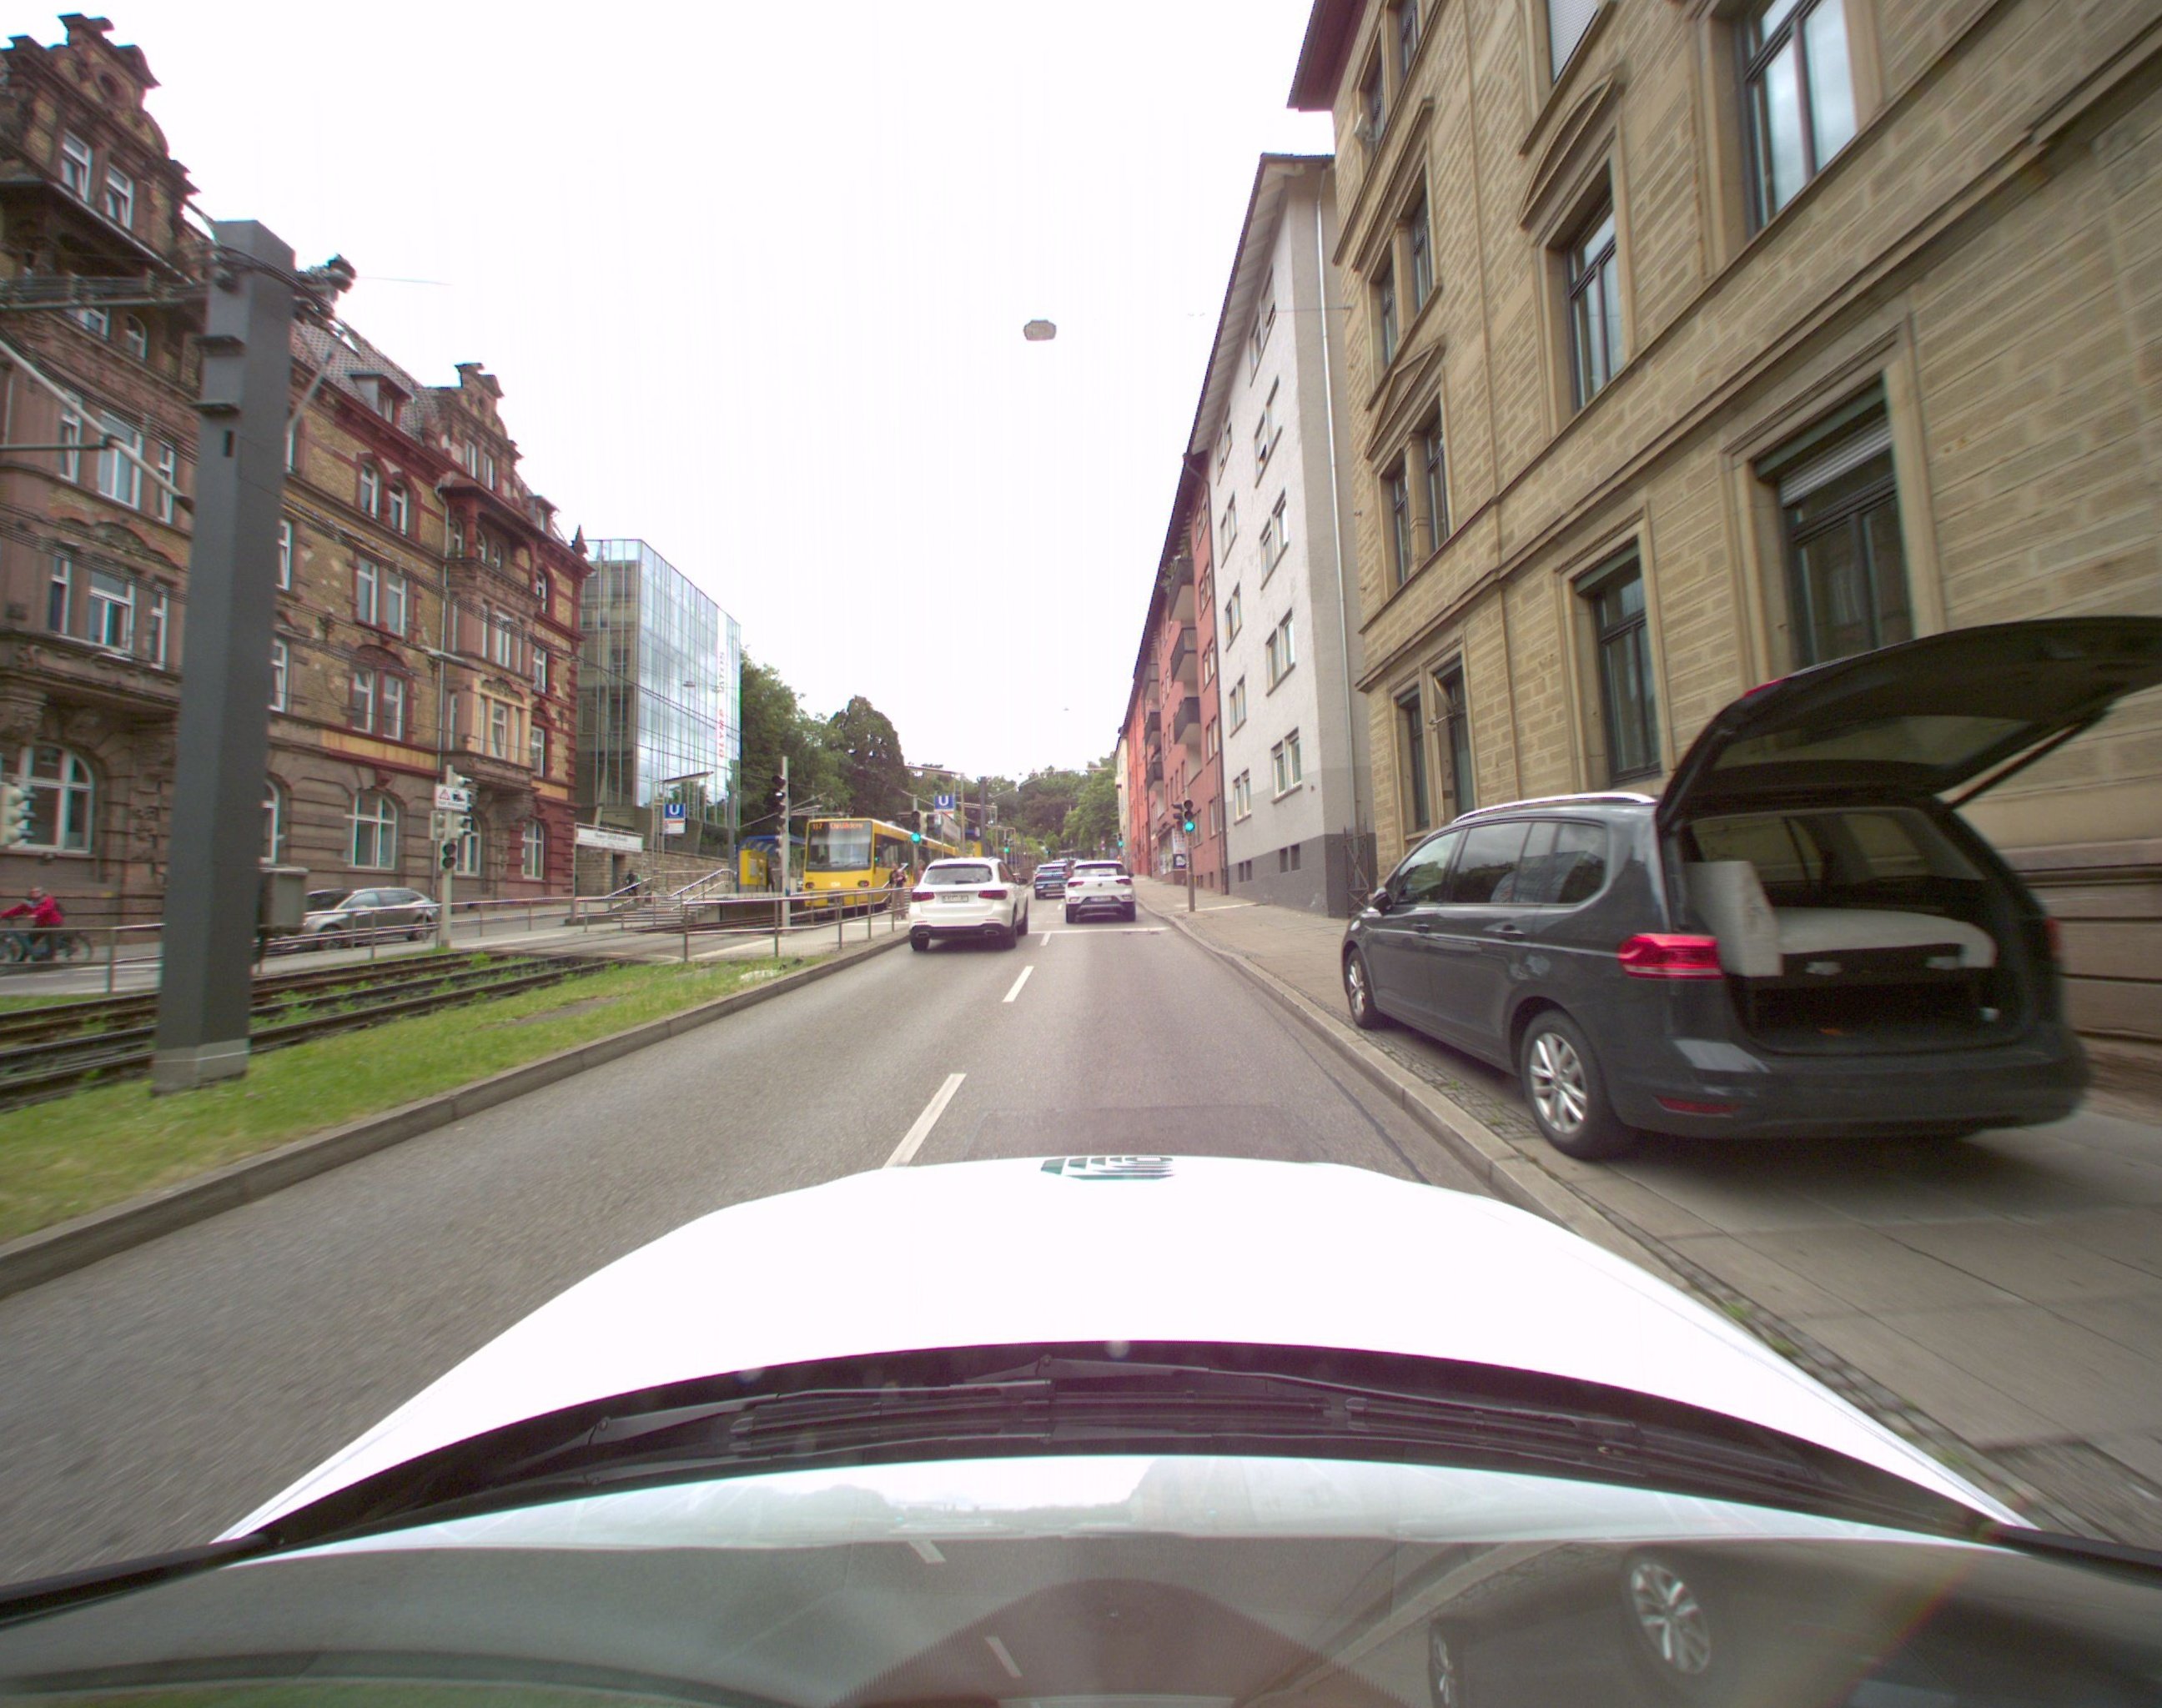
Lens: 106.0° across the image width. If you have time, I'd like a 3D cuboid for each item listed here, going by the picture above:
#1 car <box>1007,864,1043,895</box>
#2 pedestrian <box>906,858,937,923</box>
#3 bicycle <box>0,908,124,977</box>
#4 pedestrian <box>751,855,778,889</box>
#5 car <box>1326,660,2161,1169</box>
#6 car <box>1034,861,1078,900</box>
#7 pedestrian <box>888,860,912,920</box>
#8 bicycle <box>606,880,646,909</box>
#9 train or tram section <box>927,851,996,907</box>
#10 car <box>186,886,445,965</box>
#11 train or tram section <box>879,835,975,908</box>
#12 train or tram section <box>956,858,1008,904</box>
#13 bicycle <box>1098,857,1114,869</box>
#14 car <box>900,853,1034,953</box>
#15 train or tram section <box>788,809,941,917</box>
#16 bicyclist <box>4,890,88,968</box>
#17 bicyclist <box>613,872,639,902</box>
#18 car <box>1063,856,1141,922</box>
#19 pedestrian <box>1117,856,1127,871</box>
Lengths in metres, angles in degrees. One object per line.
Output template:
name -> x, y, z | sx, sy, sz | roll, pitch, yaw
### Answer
car -> -3.536, 1.586, 52.067 | 1.987, 1.882, 3.999 | -1, 0, -1
pedestrian -> -4.225, 0.951, 21.651 | 0.676, 1.680, 0.685 | -2, -1, -3
bicycle -> -20.833, 1.775, 16.632 | 0.622, 1.222, 1.602 | -2, 0, 3
pedestrian -> -15.332, 0.867, 39.460 | 0.972, 1.596, 0.765 | -2, -1, 0
car -> 3.094, 0.221, 5.056 | 1.851, 1.711, 4.309 | -3, 0, 1
car -> -1.097, 1.163, 37.422 | 1.855, 1.632, 3.959 | -2, 0, 0
pedestrian -> -5.306, 1.050, 23.917 | 0.621, 1.695, 0.658 | -2, -1, -10
bicycle -> -22.243, 1.974, 39.870 | 0.772, 1.284, 2.422 | -2, -1, -5
train or tram section -> -8.315, 1.884, 58.233 | 2.940, 3.484, 12.214 | -2, -3, 0
car -> -17.786, 1.585, 19.318 | 1.878, 1.418, 4.556 | -2, 0, -2
train or tram section -> -8.366, 1.248, 46.112 | 2.940, 3.472, 12.213 | -3, -4, 0
train or tram section -> -8.382, 2.340, 70.783 | 2.940, 3.509, 12.979 | -3, -2, -1
bicycle -> 2.631, 0.949, 87.355 | 0.642, 1.142, 2.047 | -12, 3, -26
car -> -2.037, 0.832, 15.815 | 1.870, 1.652, 4.342 | -1, 0, 1
train or tram section -> -8.406, 0.604, 33.848 | 2.940, 3.544, 12.393 | -2, -3, 0
bicyclist -> -20.871, 1.504, 16.439 | 0.616, 1.480, 0.812 | -2, -1, 1
bicyclist -> -22.255, 1.604, 39.867 | 0.767, 1.428, 0.905 | -2, -1, -5
car -> 0.554, 0.861, 21.622 | 1.858, 1.556, 3.895 | -1, 0, 1
pedestrian -> 4.730, 1.102, 94.671 | 0.834, 1.712, 0.817 | -4, -1, -14
